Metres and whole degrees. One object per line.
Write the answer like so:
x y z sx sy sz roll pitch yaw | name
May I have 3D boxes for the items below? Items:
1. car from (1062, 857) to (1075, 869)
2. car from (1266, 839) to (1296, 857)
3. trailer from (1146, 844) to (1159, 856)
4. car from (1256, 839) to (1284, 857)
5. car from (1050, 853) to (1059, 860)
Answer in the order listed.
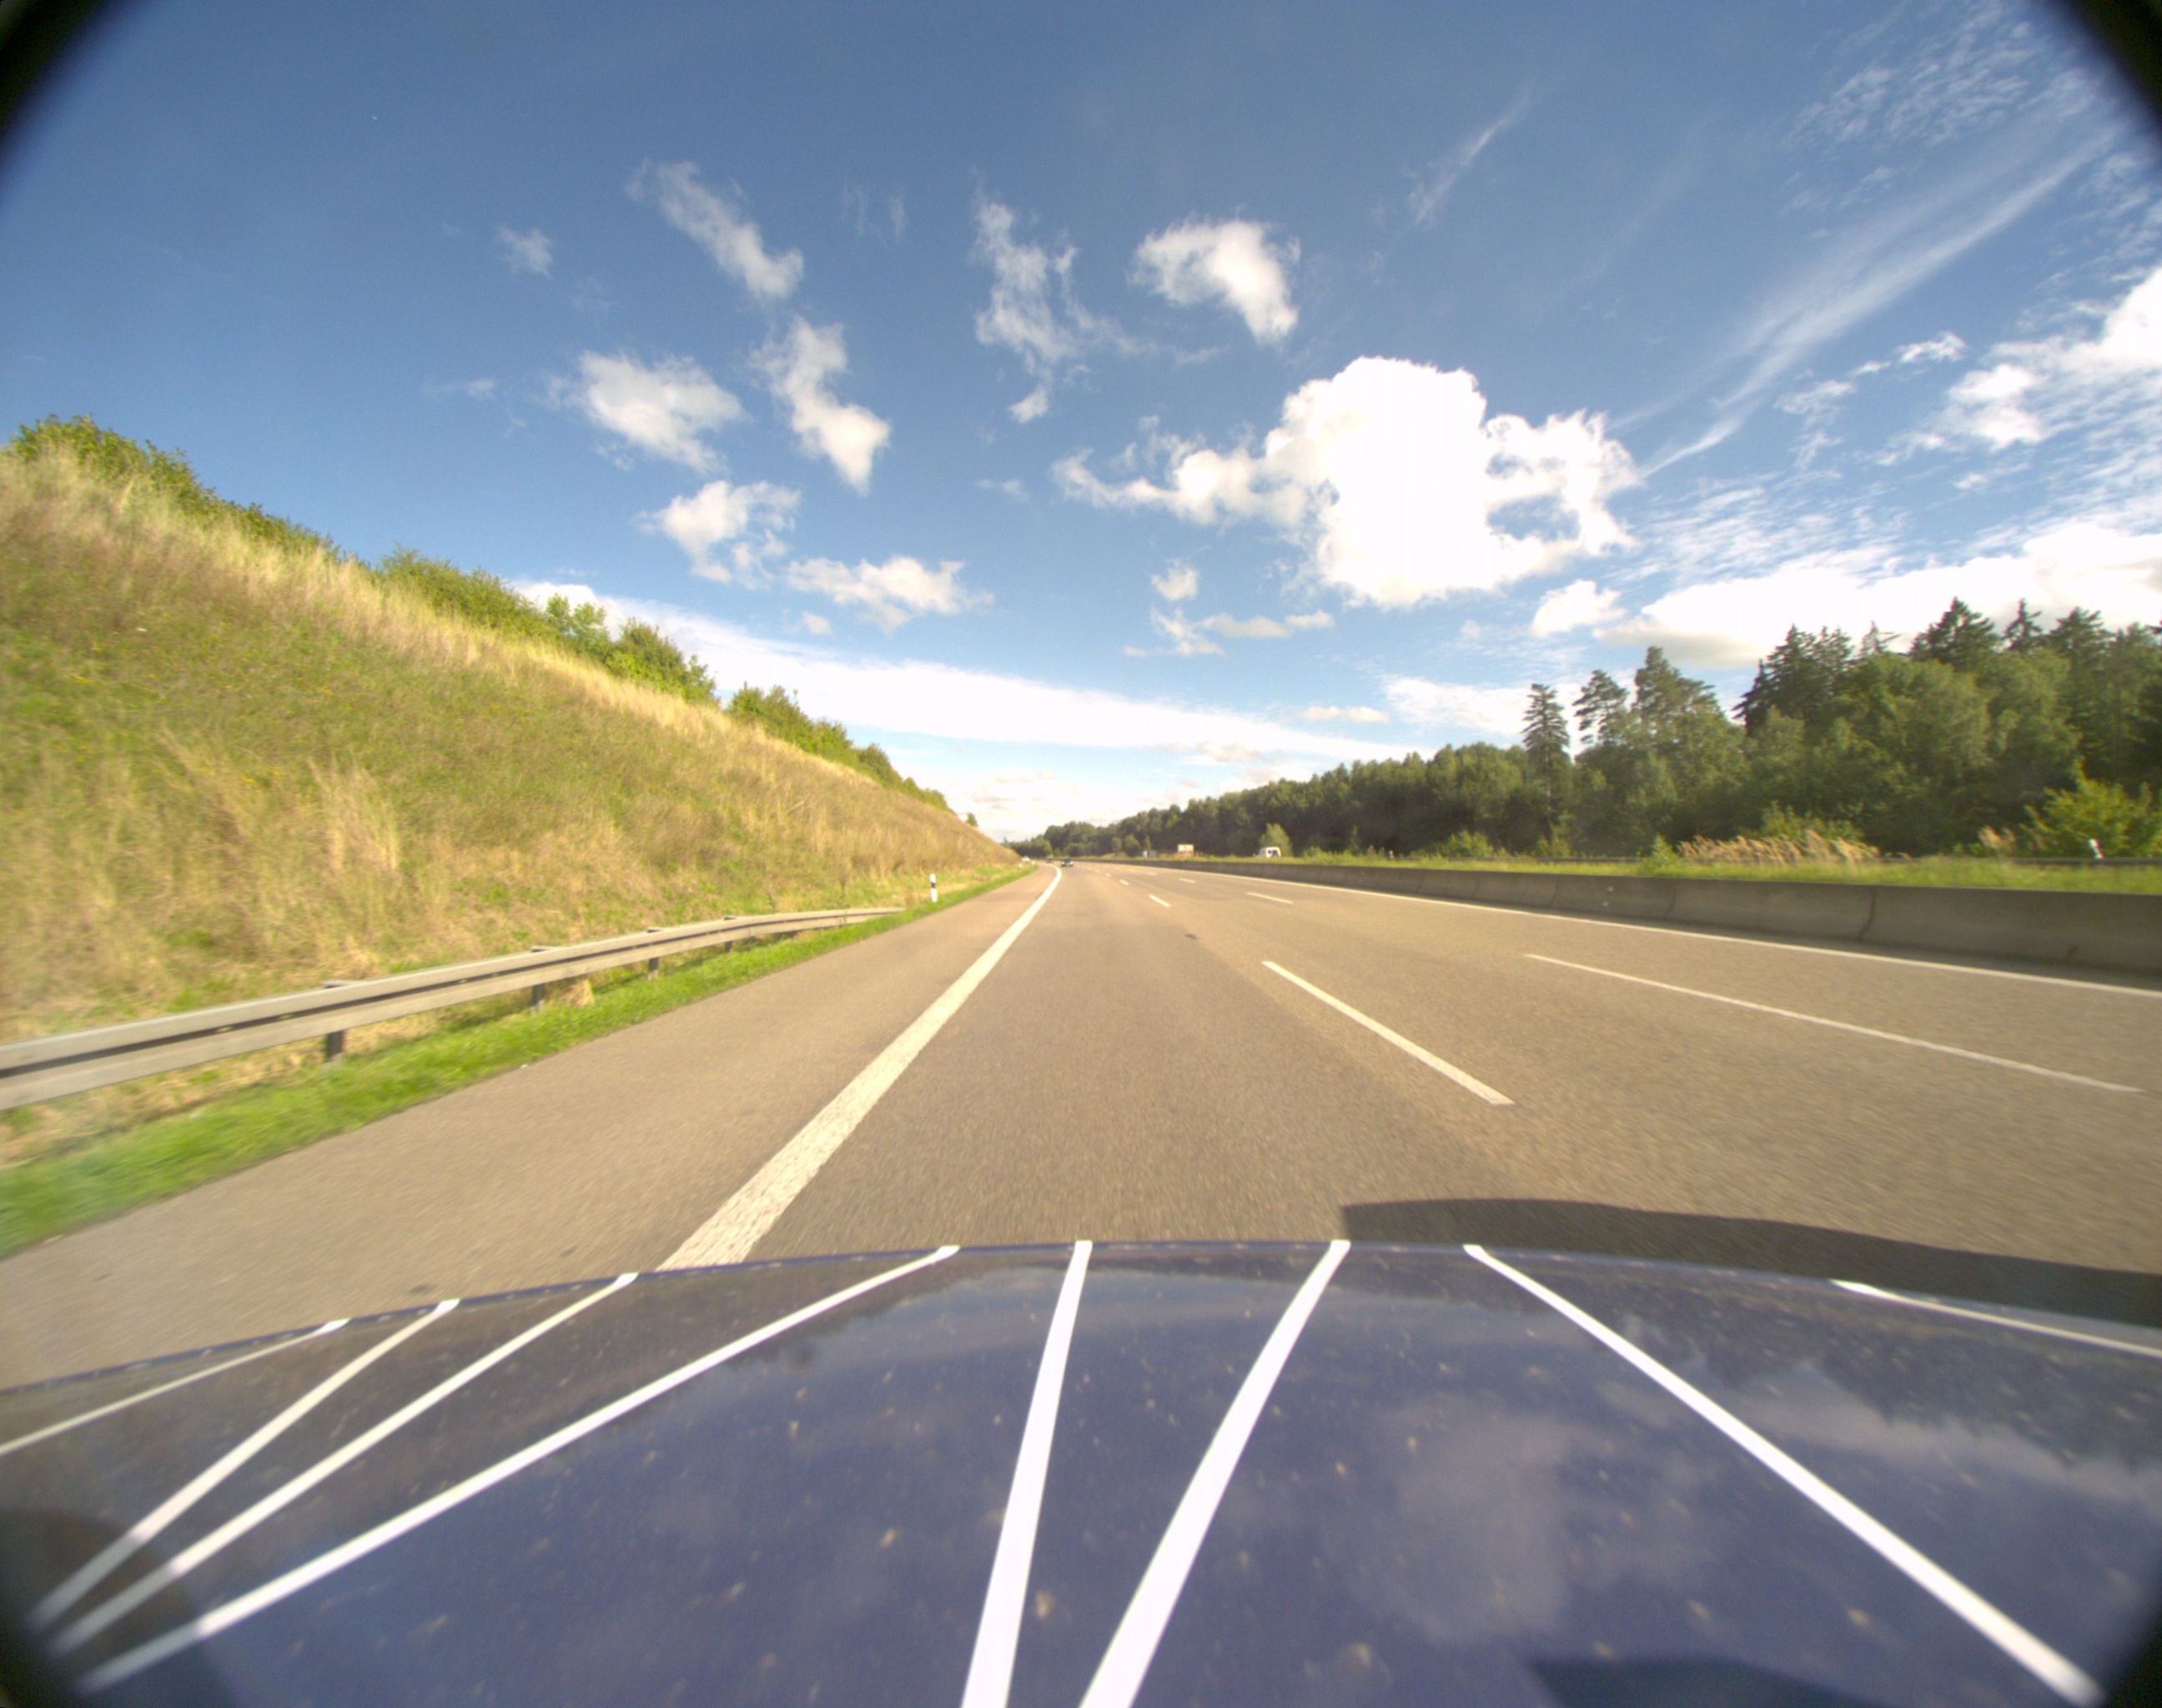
-2.017 1.453 124.206 1.999 1.827 3.998 -2 1 -3 | car
22.802 -0.675 86.939 1.998 2.002 5.386 -2 0 0 | car
17.123 -0.919 181.626 2.276 2.668 5.561 -2 0 -3 | trailer
22.796 -0.685 91.629 1.998 2.002 5.386 -2 0 0 | car
-7.417 0.637 211.551 2.000 2.002 3.997 -2 1 -6 | car
